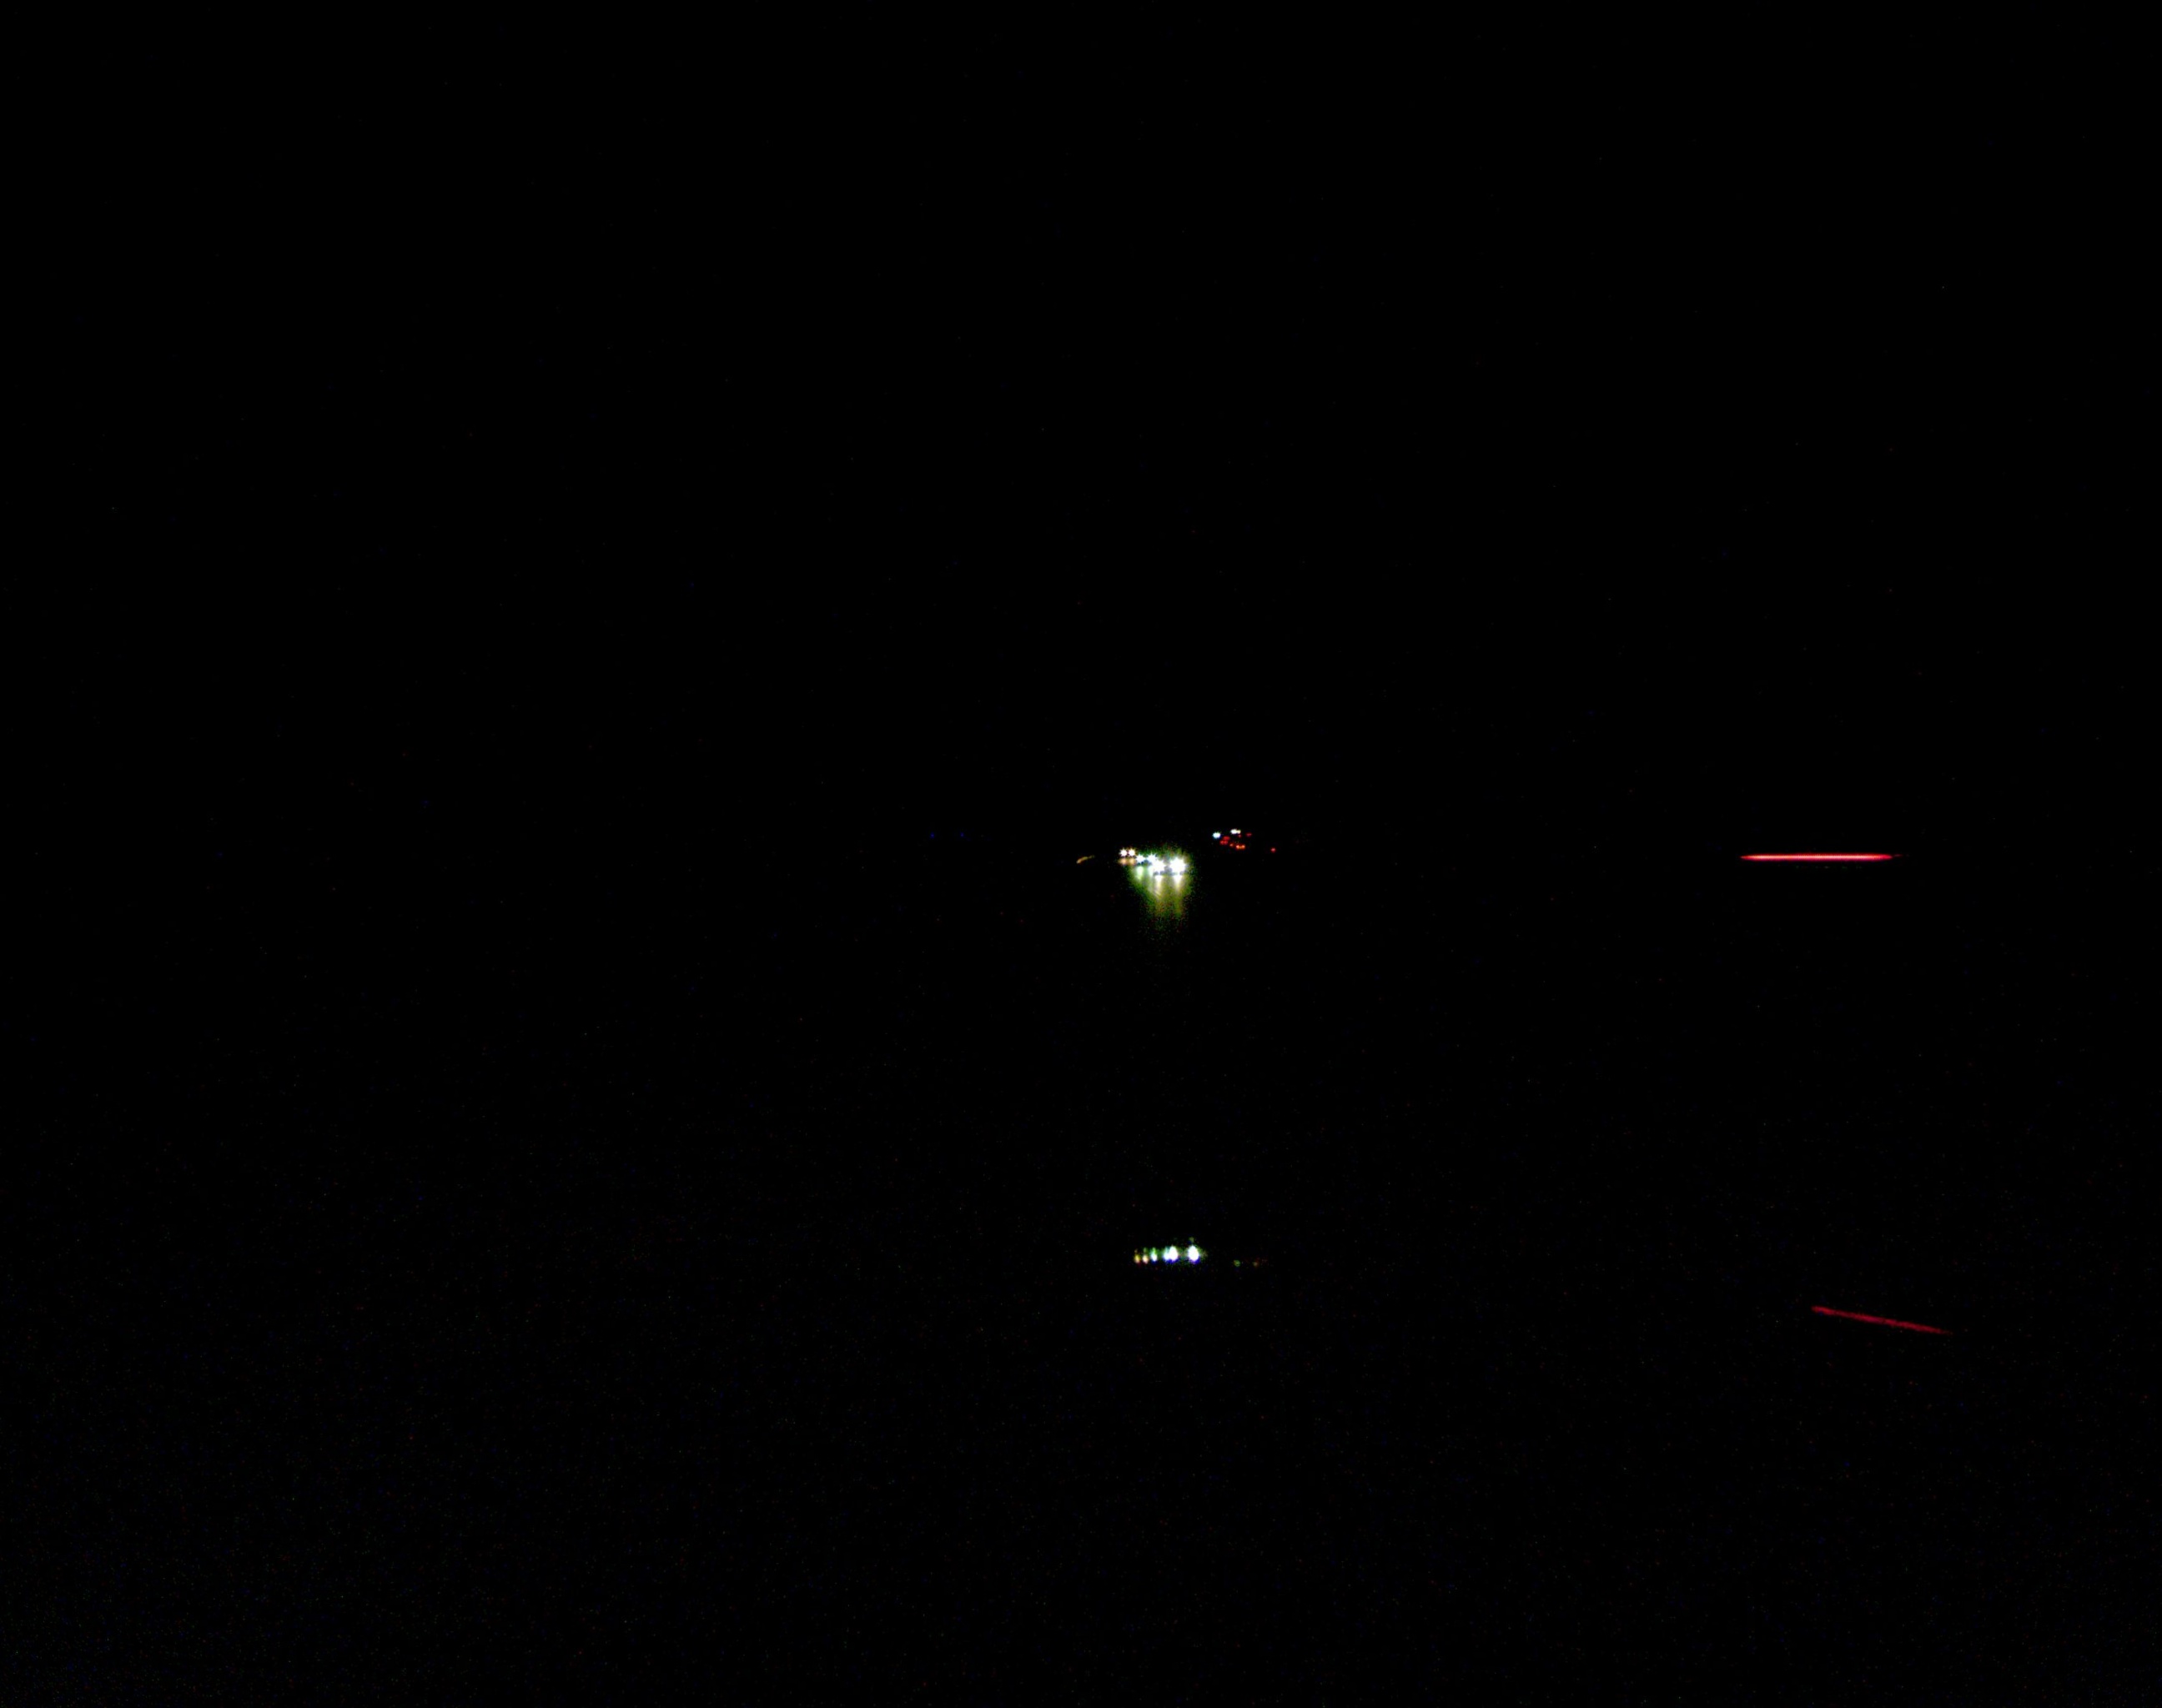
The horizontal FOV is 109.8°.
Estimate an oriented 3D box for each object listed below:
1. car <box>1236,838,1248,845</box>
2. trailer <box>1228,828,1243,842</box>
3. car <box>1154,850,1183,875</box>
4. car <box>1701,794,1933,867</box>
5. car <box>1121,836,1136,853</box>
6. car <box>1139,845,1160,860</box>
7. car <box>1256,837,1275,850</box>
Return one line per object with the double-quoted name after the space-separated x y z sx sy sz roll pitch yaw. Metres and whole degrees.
40.931 -3.169 193.189 2.402 1.865 4.513 -1 1 6 "car"
48.276 -6.010 237.784 3.606 4.067 14.128 -1 1 7 "trailer"
5.994 0.539 52.173 1.832 1.404 4.000 -3 2 6 "car"
18.271 -0.548 19.183 1.998 1.601 4.077 -1 0 2 "car"
8.964 -1.856 142.873 2.533 2.889 6.227 -3 2 6 "car"
7.891 -0.153 87.146 1.997 1.456 4.002 -2 2 12 "car"
26.812 -1.510 110.354 1.998 1.843 4.077 -1 0 4 "car"
